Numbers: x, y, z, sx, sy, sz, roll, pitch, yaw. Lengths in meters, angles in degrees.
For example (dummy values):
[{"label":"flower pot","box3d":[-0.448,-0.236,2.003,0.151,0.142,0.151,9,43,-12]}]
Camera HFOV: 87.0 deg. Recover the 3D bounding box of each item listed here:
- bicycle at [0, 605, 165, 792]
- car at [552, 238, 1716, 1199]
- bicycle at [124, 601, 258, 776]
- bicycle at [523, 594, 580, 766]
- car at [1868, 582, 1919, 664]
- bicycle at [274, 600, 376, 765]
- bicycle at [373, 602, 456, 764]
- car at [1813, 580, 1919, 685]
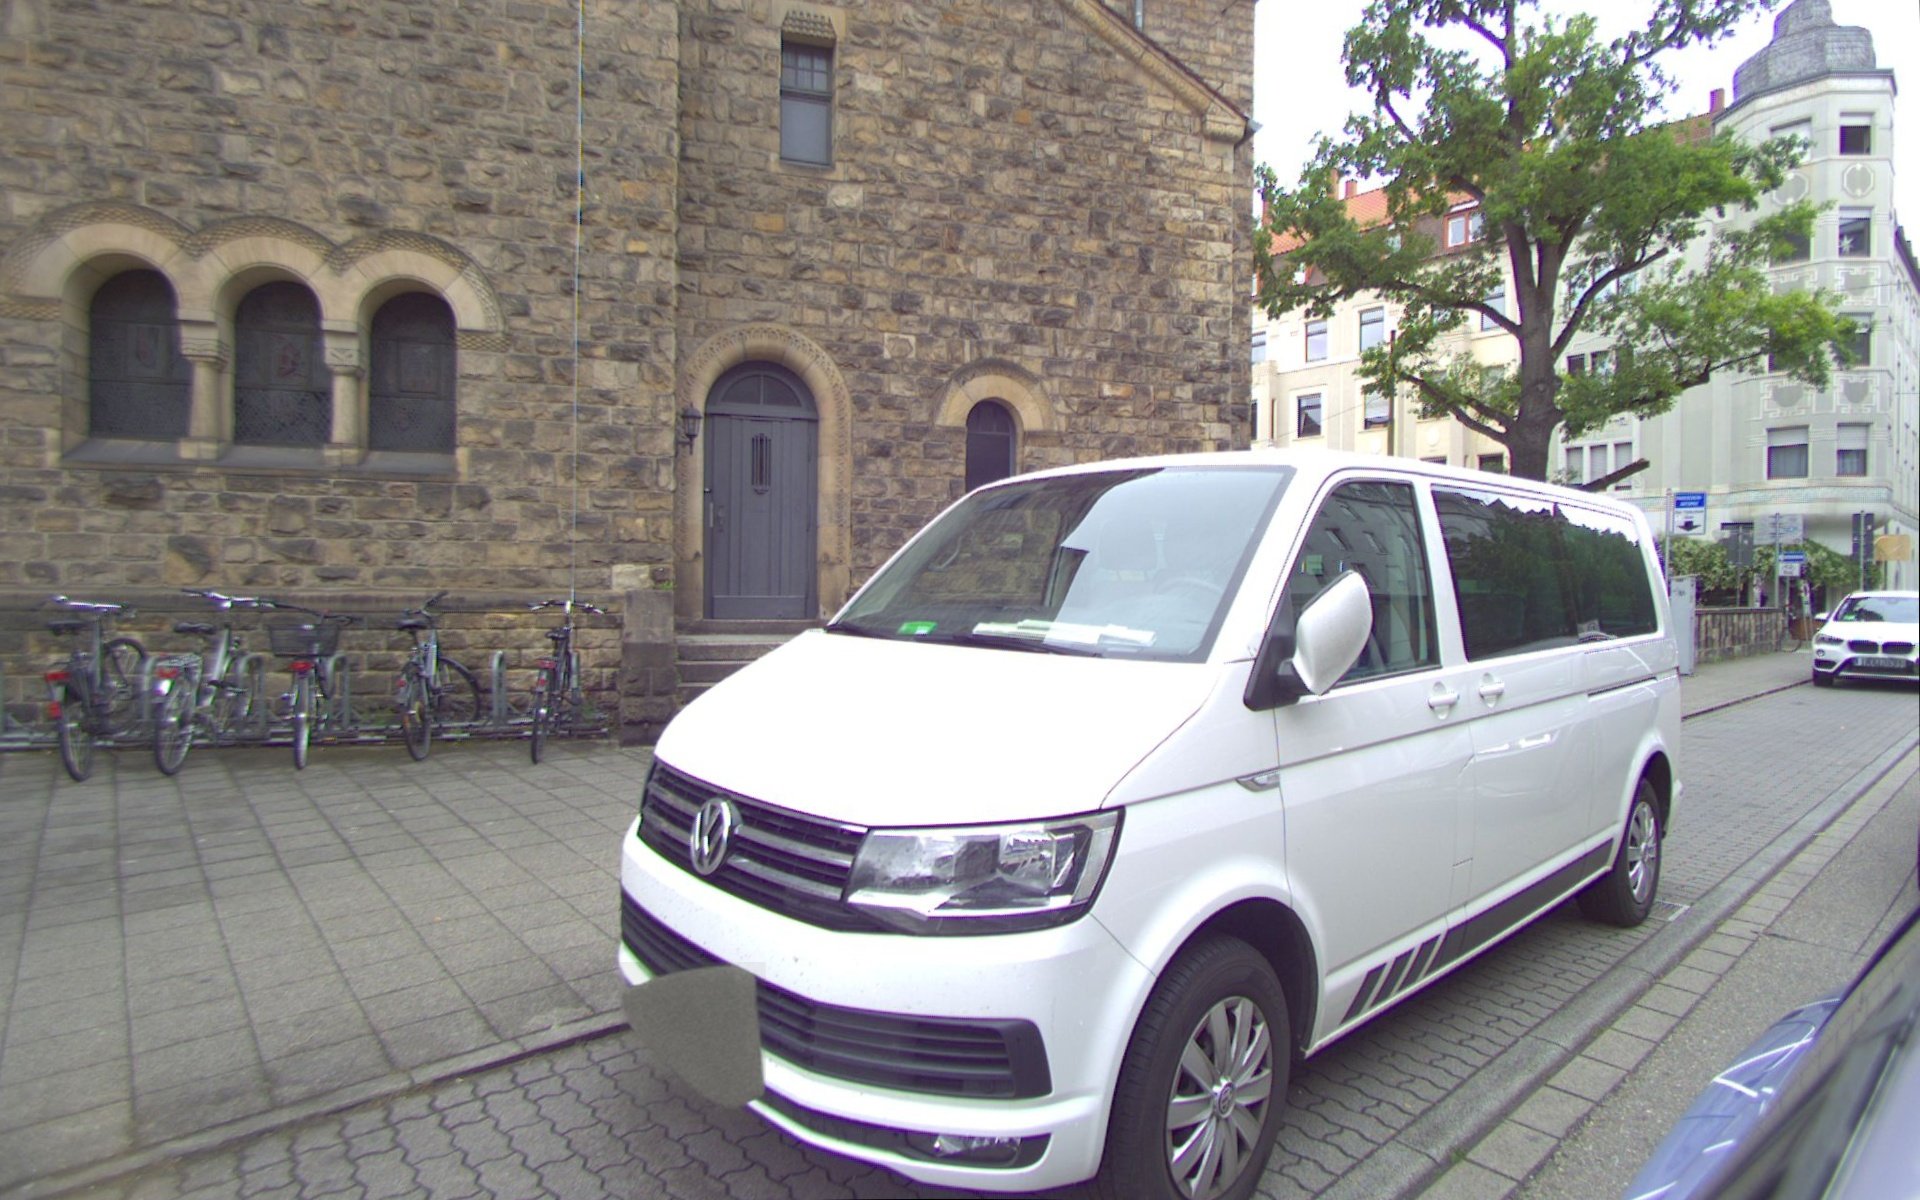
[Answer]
[{"label":"bicycle","box3d":[-5.700,0.582,6.635,0.304,1.073,1.386,0,0,-18]},{"label":"car","box3d":[1.282,0.376,4.003,5.075,1.944,1.807,0,1,-42]},{"label":"bicycle","box3d":[-5.289,0.551,7.024,0.304,1.073,1.386,0,0,-18]},{"label":"bicycle","box3d":[-3.035,0.540,7.574,0.304,1.161,1.346,0,0,-18]},{"label":"car","box3d":[20.168,0.438,20.748,3.930,1.585,1.818,0,1,-41]},{"label":"bicycle","box3d":[-4.613,0.546,7.411,0.304,1.073,1.386,0,0,-18]},{"label":"bicycle","box3d":[-4.047,0.566,7.560,0.304,1.073,1.346,0,0,-18]},{"label":"car","box3d":[15.808,0.482,16.884,3.930,1.585,1.818,0,1,-41]}]
